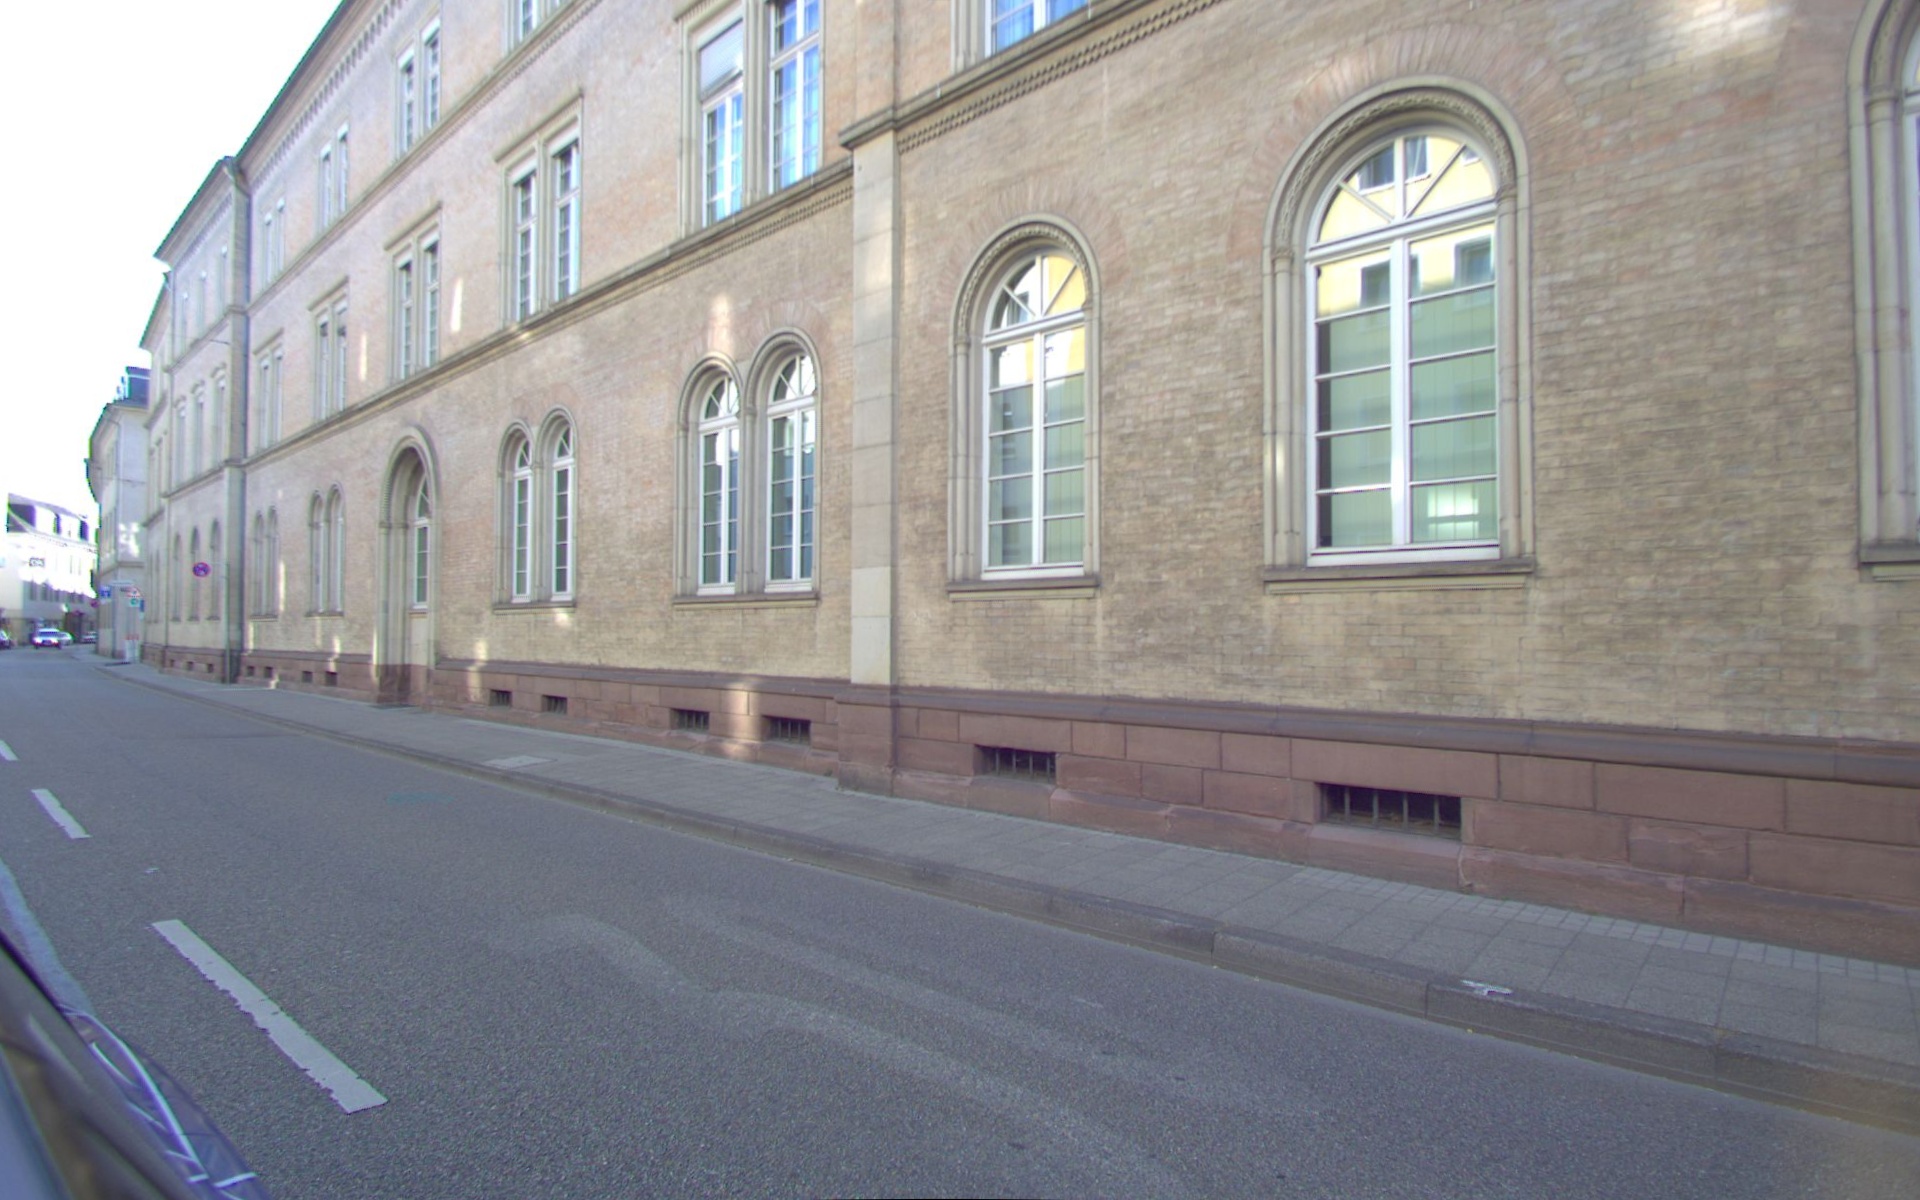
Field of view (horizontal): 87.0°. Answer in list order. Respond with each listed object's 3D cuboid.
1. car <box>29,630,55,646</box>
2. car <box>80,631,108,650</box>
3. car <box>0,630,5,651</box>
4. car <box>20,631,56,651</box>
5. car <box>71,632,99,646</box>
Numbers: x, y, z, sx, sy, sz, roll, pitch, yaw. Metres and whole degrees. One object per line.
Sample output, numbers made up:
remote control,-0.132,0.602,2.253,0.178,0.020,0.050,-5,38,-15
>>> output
car,-102.401,4.221,112.905,1.511,1.737,3.749,1,-2,-34
car,-80.276,3.775,93.870,1.638,1.737,3.748,1,-2,-36
car,-80.658,3.345,83.830,1.833,1.737,3.747,1,-3,-37
car,-81.748,3.589,89.798,1.893,1.735,4.971,1,-2,-37
car,-109.262,4.893,126.368,1.896,1.737,4.242,1,-2,-31
